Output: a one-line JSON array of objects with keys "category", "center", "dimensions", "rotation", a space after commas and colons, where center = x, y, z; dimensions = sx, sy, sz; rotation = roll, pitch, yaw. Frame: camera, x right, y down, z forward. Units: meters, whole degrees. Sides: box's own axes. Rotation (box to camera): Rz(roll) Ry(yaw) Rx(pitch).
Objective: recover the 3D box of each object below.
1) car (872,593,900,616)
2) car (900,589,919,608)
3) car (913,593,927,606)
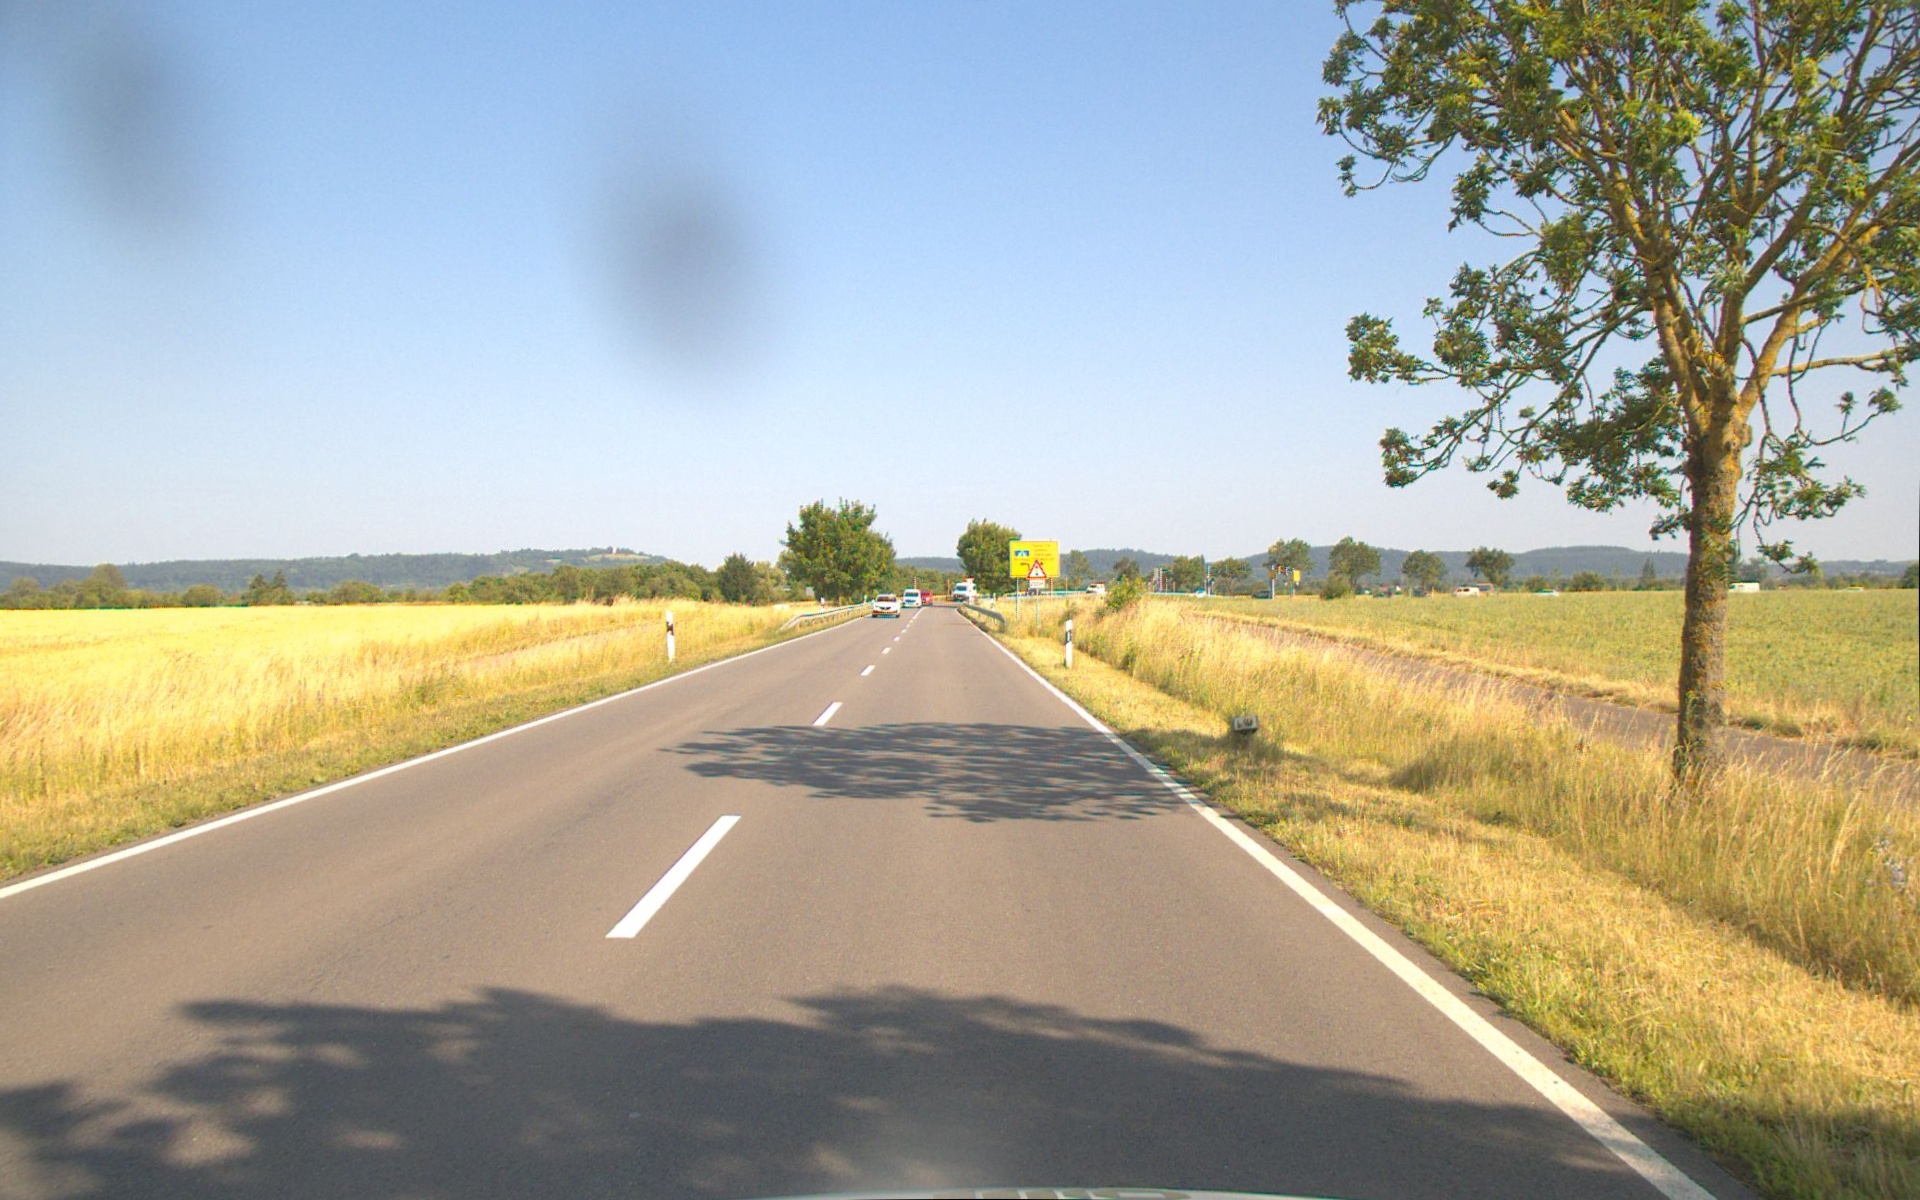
[{"category": "car", "center": [-4.771, 0.273, 107.444], "dimensions": [1.691, 1.462, 4.515], "rotation": [0, 0, -1]}, {"category": "car", "center": [-5.074, -0.153, 165.414], "dimensions": [1.799, 1.818, 4.434], "rotation": [0, 0, 0]}, {"category": "car", "center": [-4.507, -0.071, 187.759], "dimensions": [1.574, 1.514, 3.779], "rotation": [0, 0, -1]}]
